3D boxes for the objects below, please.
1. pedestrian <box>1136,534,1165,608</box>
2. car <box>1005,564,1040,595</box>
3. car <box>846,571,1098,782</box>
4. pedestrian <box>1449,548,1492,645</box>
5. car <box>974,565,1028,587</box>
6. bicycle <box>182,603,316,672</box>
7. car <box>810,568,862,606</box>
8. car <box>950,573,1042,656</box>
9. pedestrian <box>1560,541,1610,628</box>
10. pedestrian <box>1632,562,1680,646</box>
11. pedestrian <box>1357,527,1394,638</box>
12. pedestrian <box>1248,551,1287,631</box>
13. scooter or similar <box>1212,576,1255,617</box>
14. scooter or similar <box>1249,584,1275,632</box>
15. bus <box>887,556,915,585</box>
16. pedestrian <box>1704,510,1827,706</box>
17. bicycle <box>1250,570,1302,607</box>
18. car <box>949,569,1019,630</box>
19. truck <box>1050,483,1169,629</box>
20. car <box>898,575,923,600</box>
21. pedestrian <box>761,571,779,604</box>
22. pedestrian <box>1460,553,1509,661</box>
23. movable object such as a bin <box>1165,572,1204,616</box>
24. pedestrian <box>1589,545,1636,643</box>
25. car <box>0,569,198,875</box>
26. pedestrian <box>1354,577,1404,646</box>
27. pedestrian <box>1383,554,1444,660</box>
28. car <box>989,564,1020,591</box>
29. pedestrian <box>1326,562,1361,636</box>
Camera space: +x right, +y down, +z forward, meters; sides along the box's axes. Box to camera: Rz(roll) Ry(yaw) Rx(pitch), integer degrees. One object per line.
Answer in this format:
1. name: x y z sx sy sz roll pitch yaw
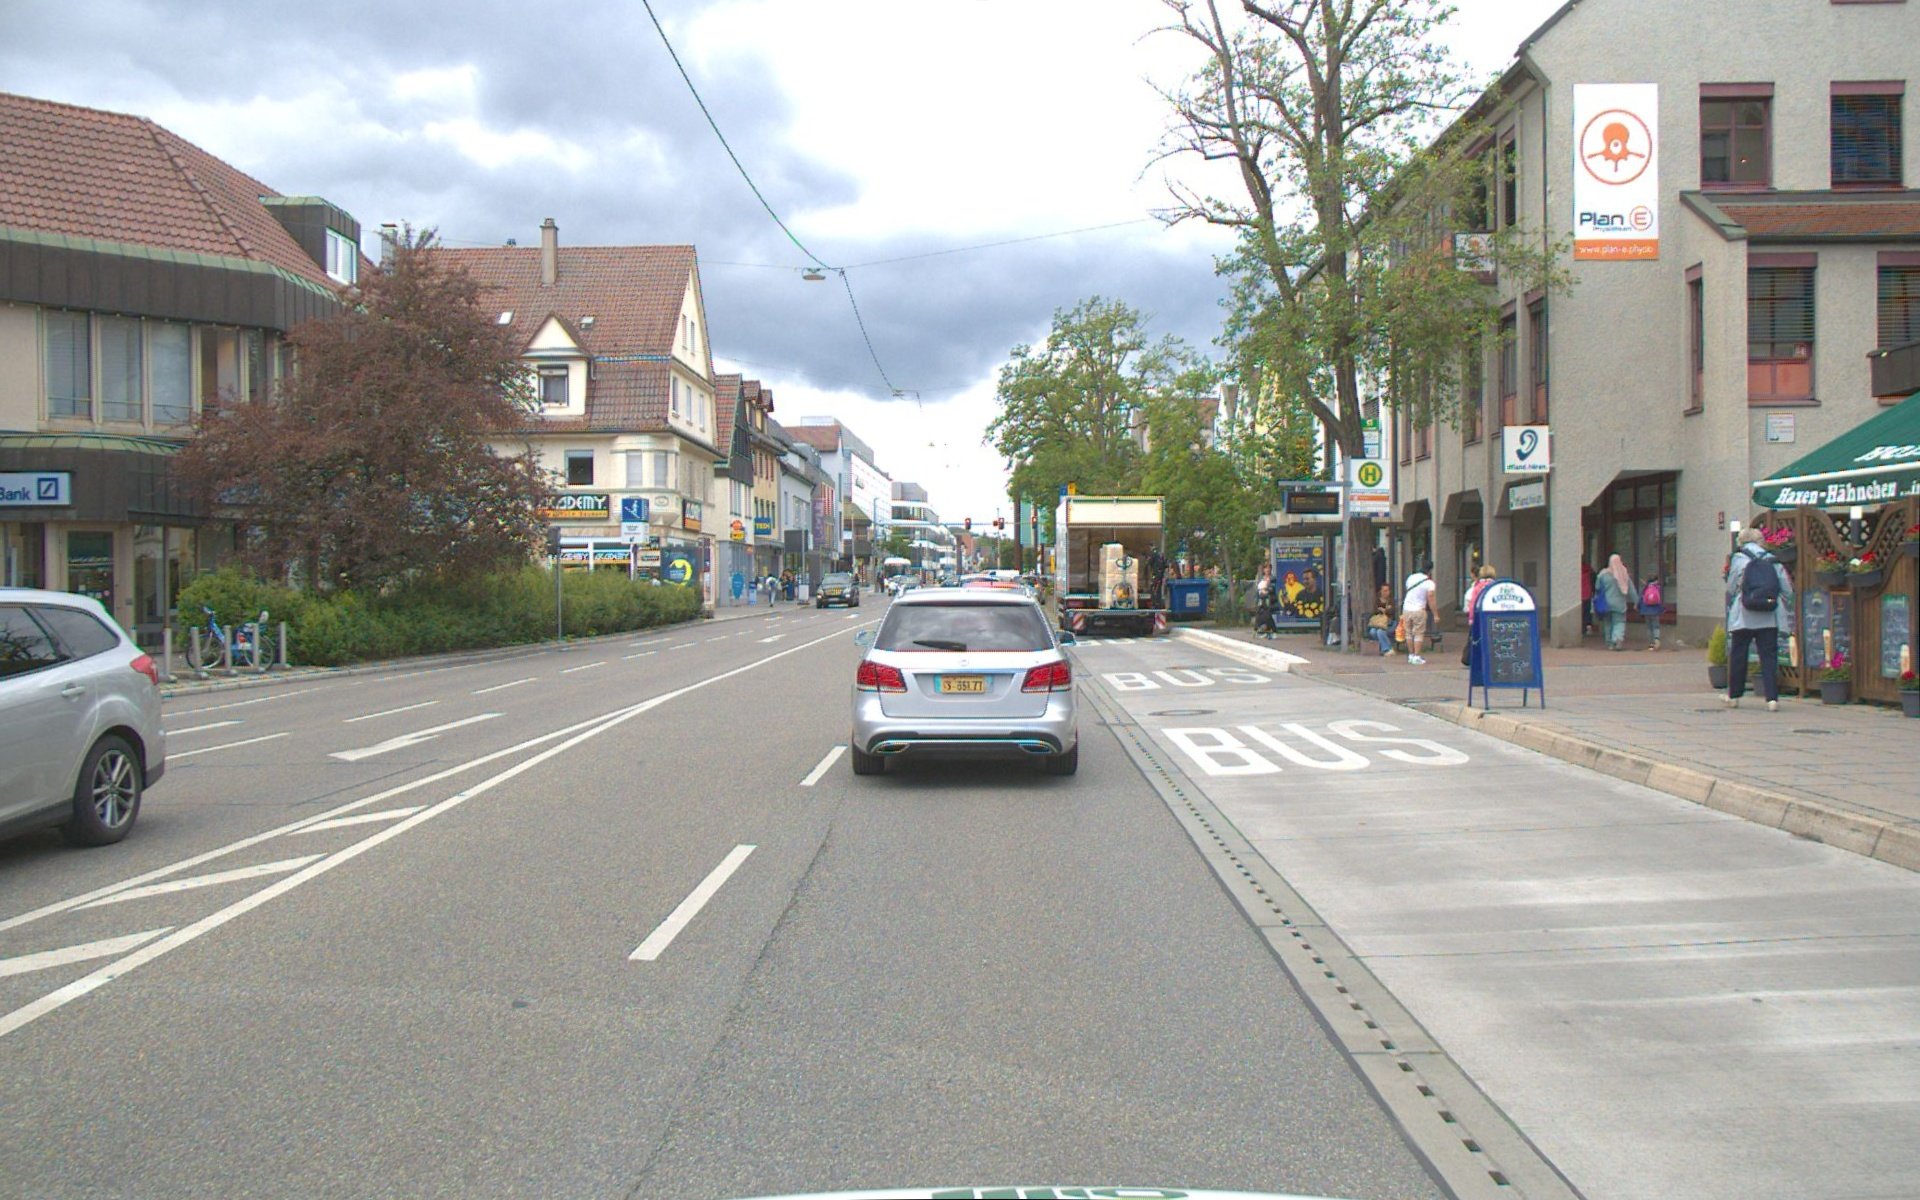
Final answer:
1. pedestrian: 4.713 -0.706 40.901 0.600 1.811 0.588 -1 0 -2
2. car: 3.570 -1.194 94.506 1.952 1.713 4.001 -1 1 2
3. car: 0.078 0.532 14.108 1.836 1.532 4.000 0 1 0
4. pedestrian: 8.754 -0.065 28.402 0.600 1.663 0.588 0 1 6
5. car: 4.038 -2.343 163.111 5.076 1.995 1.945 -3 1 -33
6. bicycle: -12.235 0.636 28.503 1.980 1.109 0.648 -1 1 -9
7. car: -6.355 -0.702 85.121 2.026 1.768 4.695 -3 1 2
8. car: 0.743 0.261 33.374 1.718 1.547 4.001 -1 0 1
9. pedestrian: 12.122 -0.305 32.090 0.712 1.663 0.614 -1 1 -7
10. pedestrian: 11.737 0.053 27.895 0.574 1.399 0.615 0 1 3
11. pedestrian: 7.940 -0.333 31.593 0.600 2.082 0.588 -2 0 14
12. pedestrian: 6.543 -0.199 35.248 0.527 1.663 0.584 2 1 -23
13. scooter or similar: 8.197 -0.105 49.588 1.153 1.217 0.459 -1 1 -8
14. scooter or similar: 6.355 0.166 34.820 0.381 0.975 0.350 -2 1 -40
15. bus: -6.682 -3.313 187.701 2.717 3.220 5.934 -1 1 2
16. pedestrian: 7.583 0.076 15.596 0.669 1.772 0.781 -3 -1 -4
17. bicycle: 11.929 -0.431 62.475 1.780 1.350 0.843 -1 1 -2
18. car: 0.740 -0.043 49.020 1.952 1.713 4.001 -1 1 2
19. truck: 4.036 -1.203 46.563 2.633 3.623 9.769 -1 1 1
20. car: -3.090 -0.796 103.534 1.538 1.567 2.960 1 1 -1
21. pedestrian: -9.714 -0.661 84.554 0.800 1.663 0.979 1 1 -4
22. pedestrian: 7.881 0.092 24.848 0.658 1.594 0.492 1 2 21
23. movable object such as a bin: 7.154 -0.200 52.795 1.119 1.363 1.376 -1 1 3
24. pedestrian: 11.177 -0.107 28.341 0.574 1.663 0.615 -1 1 2
25. car: -5.751 0.649 8.153 1.835 1.532 4.344 -2 0 1
26. pedestrian: 7.366 0.190 29.081 0.698 1.186 0.587 0 1 -5
27. pedestrian: 7.267 0.092 26.526 0.604 1.663 0.789 -1 2 -20
28. car: 2.895 -1.457 106.844 1.952 1.713 4.001 -1 1 2
29. pedestrian: 7.572 -0.015 32.632 0.600 1.425 0.588 -3 0 14
